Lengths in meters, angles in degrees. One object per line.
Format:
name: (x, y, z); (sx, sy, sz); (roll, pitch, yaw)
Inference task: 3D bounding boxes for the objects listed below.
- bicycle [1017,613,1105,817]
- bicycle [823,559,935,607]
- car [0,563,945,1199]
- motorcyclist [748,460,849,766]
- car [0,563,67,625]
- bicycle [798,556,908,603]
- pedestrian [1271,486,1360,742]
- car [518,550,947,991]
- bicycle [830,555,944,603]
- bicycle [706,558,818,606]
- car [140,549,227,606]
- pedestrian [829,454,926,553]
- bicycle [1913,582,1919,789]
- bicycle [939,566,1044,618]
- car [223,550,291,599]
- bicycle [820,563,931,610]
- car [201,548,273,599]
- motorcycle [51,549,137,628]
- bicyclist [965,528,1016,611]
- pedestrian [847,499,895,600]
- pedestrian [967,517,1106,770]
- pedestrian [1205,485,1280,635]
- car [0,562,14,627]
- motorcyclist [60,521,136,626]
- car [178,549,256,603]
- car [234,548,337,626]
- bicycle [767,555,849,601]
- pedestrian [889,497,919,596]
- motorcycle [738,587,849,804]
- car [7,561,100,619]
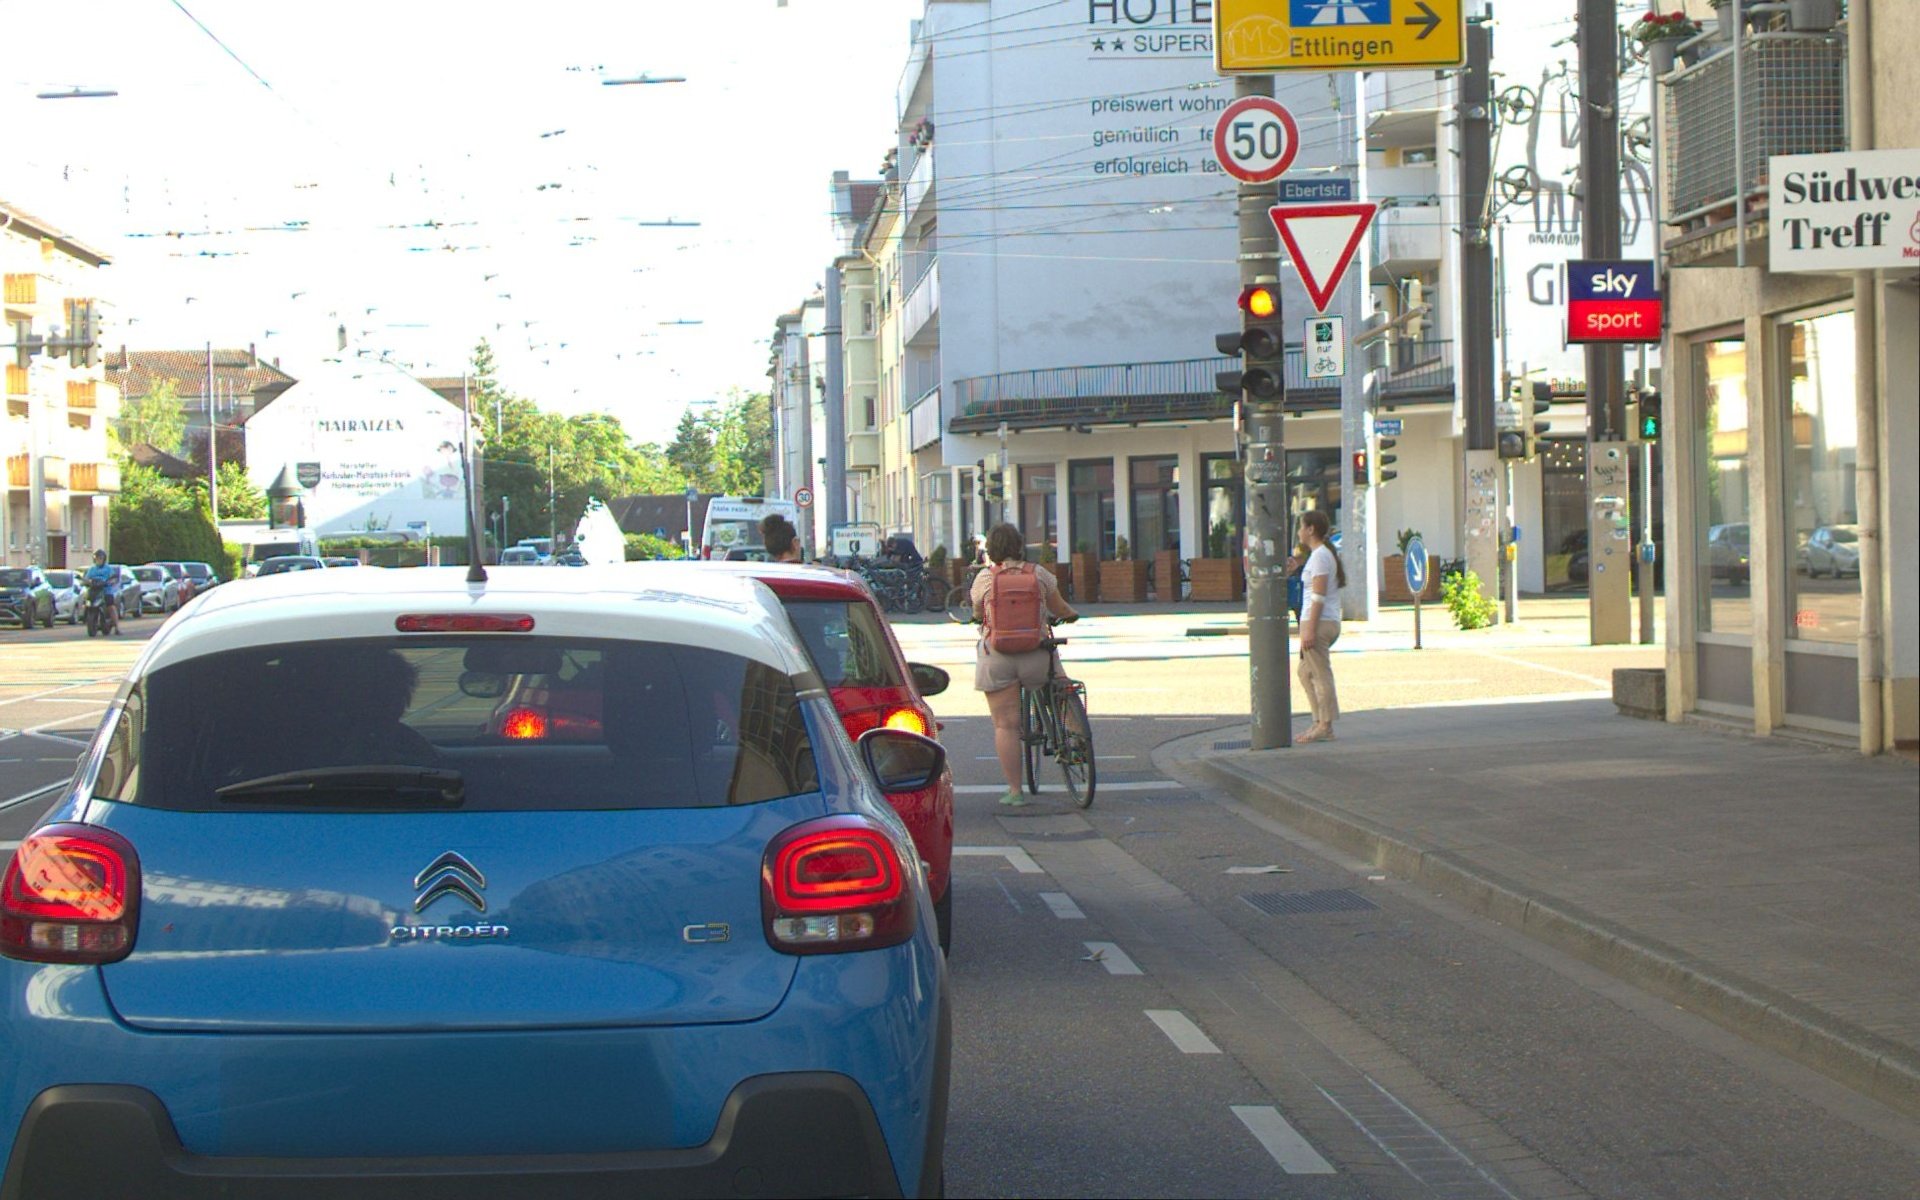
bicycle: (0.589, 0.656, 20.485); (0.427, 1.119, 1.998); (1, 1, -1)
bicycle: (-1.581, -0.328, 67.112); (2.132, 0.898, 0.367); (1, 0, -9)
car: (-0.881, 0.655, 7.175); (1.654, 1.439, 3.523); (1, 1, -1)
motorcyclist: (-0.916, 0.069, 19.616); (0.526, 1.710, 0.717); (1, 0, -1)
car: (-23.684, -0.180, 86.107); (1.785, 1.493, 4.001); (1, 1, -4)
bicycle: (-2.124, -0.408, 68.289); (2.132, 0.898, 0.367); (1, 0, -9)
pedestrian: (2.505, 0.097, 24.266); (0.517, 1.777, 0.595); (1, 0, -2)
car: (-0.788, 0.566, 13.120); (1.424, 1.462, 2.924); (-1, 0, -1)
bicycle: (-1.397, -0.398, 65.887); (2.132, 0.898, 0.367); (1, 0, -9)
bicycle: (-3.817, -0.351, 66.276); (2.132, 0.898, 0.367); (1, 0, -9)
car: (-23.893, -0.697, 105.937); (1.983, 1.681, 4.001); (1, 1, -3)
pedestrian: (-1.746, -2.036, 73.526); (1.993, 2.007, 4.000); (1, 1, -1)
bicycle: (4.887, 0.421, 15.738); (0.542, 0.995, 1.706); (1, 1, -1)
bicycle: (0.569, -0.141, 61.521); (1.855, 0.900, 0.349); (1, 0, 19)
car: (-24.785, -0.899, 121.310); (1.846, 1.681, 3.875); (1, 1, -4)
bicycle: (-1.663, -0.261, 67.561); (2.132, 0.898, 0.367); (1, 0, -9)
car: (-24.513, -0.914, 116.664); (1.833, 1.681, 4.001); (1, 1, -4)
motorcycle: (-16.823, -0.245, 66.862); (0.923, 1.481, 3.726); (1, 1, -3)
bicyclist: (0.546, -0.554, 61.588); (0.746, 1.472, 0.562); (1, 0, 18)
pedestrian: (-1.785, -1.019, 69.127); (0.630, 2.007, 0.724); (1, 0, -36)
pedestrian: (0.443, 0.247, 20.245); (0.777, 1.455, 0.682); (1, 0, -1)
pedestrian: (3.849, -0.544, 46.882); (0.926, 2.007, 0.759); (1, 0, -1)
car: (-23.172, -0.136, 79.071); (1.787, 1.506, 4.150); (1, 1, -2)
motorcyclist: (-16.828, -0.519, 67.150); (1.185, 2.007, 1.276); (-1, 1, -3)
car: (-24.034, -0.788, 111.324); (1.882, 1.681, 4.001); (1, 1, -4)
car: (-14.959, -0.309, 76.427); (1.774, 1.660, 3.857); (1, 1, -4)
bicycle: (-3.079, -0.446, 69.471); (1.785, 0.898, 0.366); (1, 1, 34)
pedestrian: (-1.145, -1.092, 70.238); (0.577, 2.007, 0.626); (1, 0, -3)
motorcycle: (-0.924, 0.504, 19.433); (0.526, 1.136, 2.290); (1, 1, -1)
car: (-24.278, -0.284, 92.165); (1.732, 1.493, 4.001); (1, 1, -5)
